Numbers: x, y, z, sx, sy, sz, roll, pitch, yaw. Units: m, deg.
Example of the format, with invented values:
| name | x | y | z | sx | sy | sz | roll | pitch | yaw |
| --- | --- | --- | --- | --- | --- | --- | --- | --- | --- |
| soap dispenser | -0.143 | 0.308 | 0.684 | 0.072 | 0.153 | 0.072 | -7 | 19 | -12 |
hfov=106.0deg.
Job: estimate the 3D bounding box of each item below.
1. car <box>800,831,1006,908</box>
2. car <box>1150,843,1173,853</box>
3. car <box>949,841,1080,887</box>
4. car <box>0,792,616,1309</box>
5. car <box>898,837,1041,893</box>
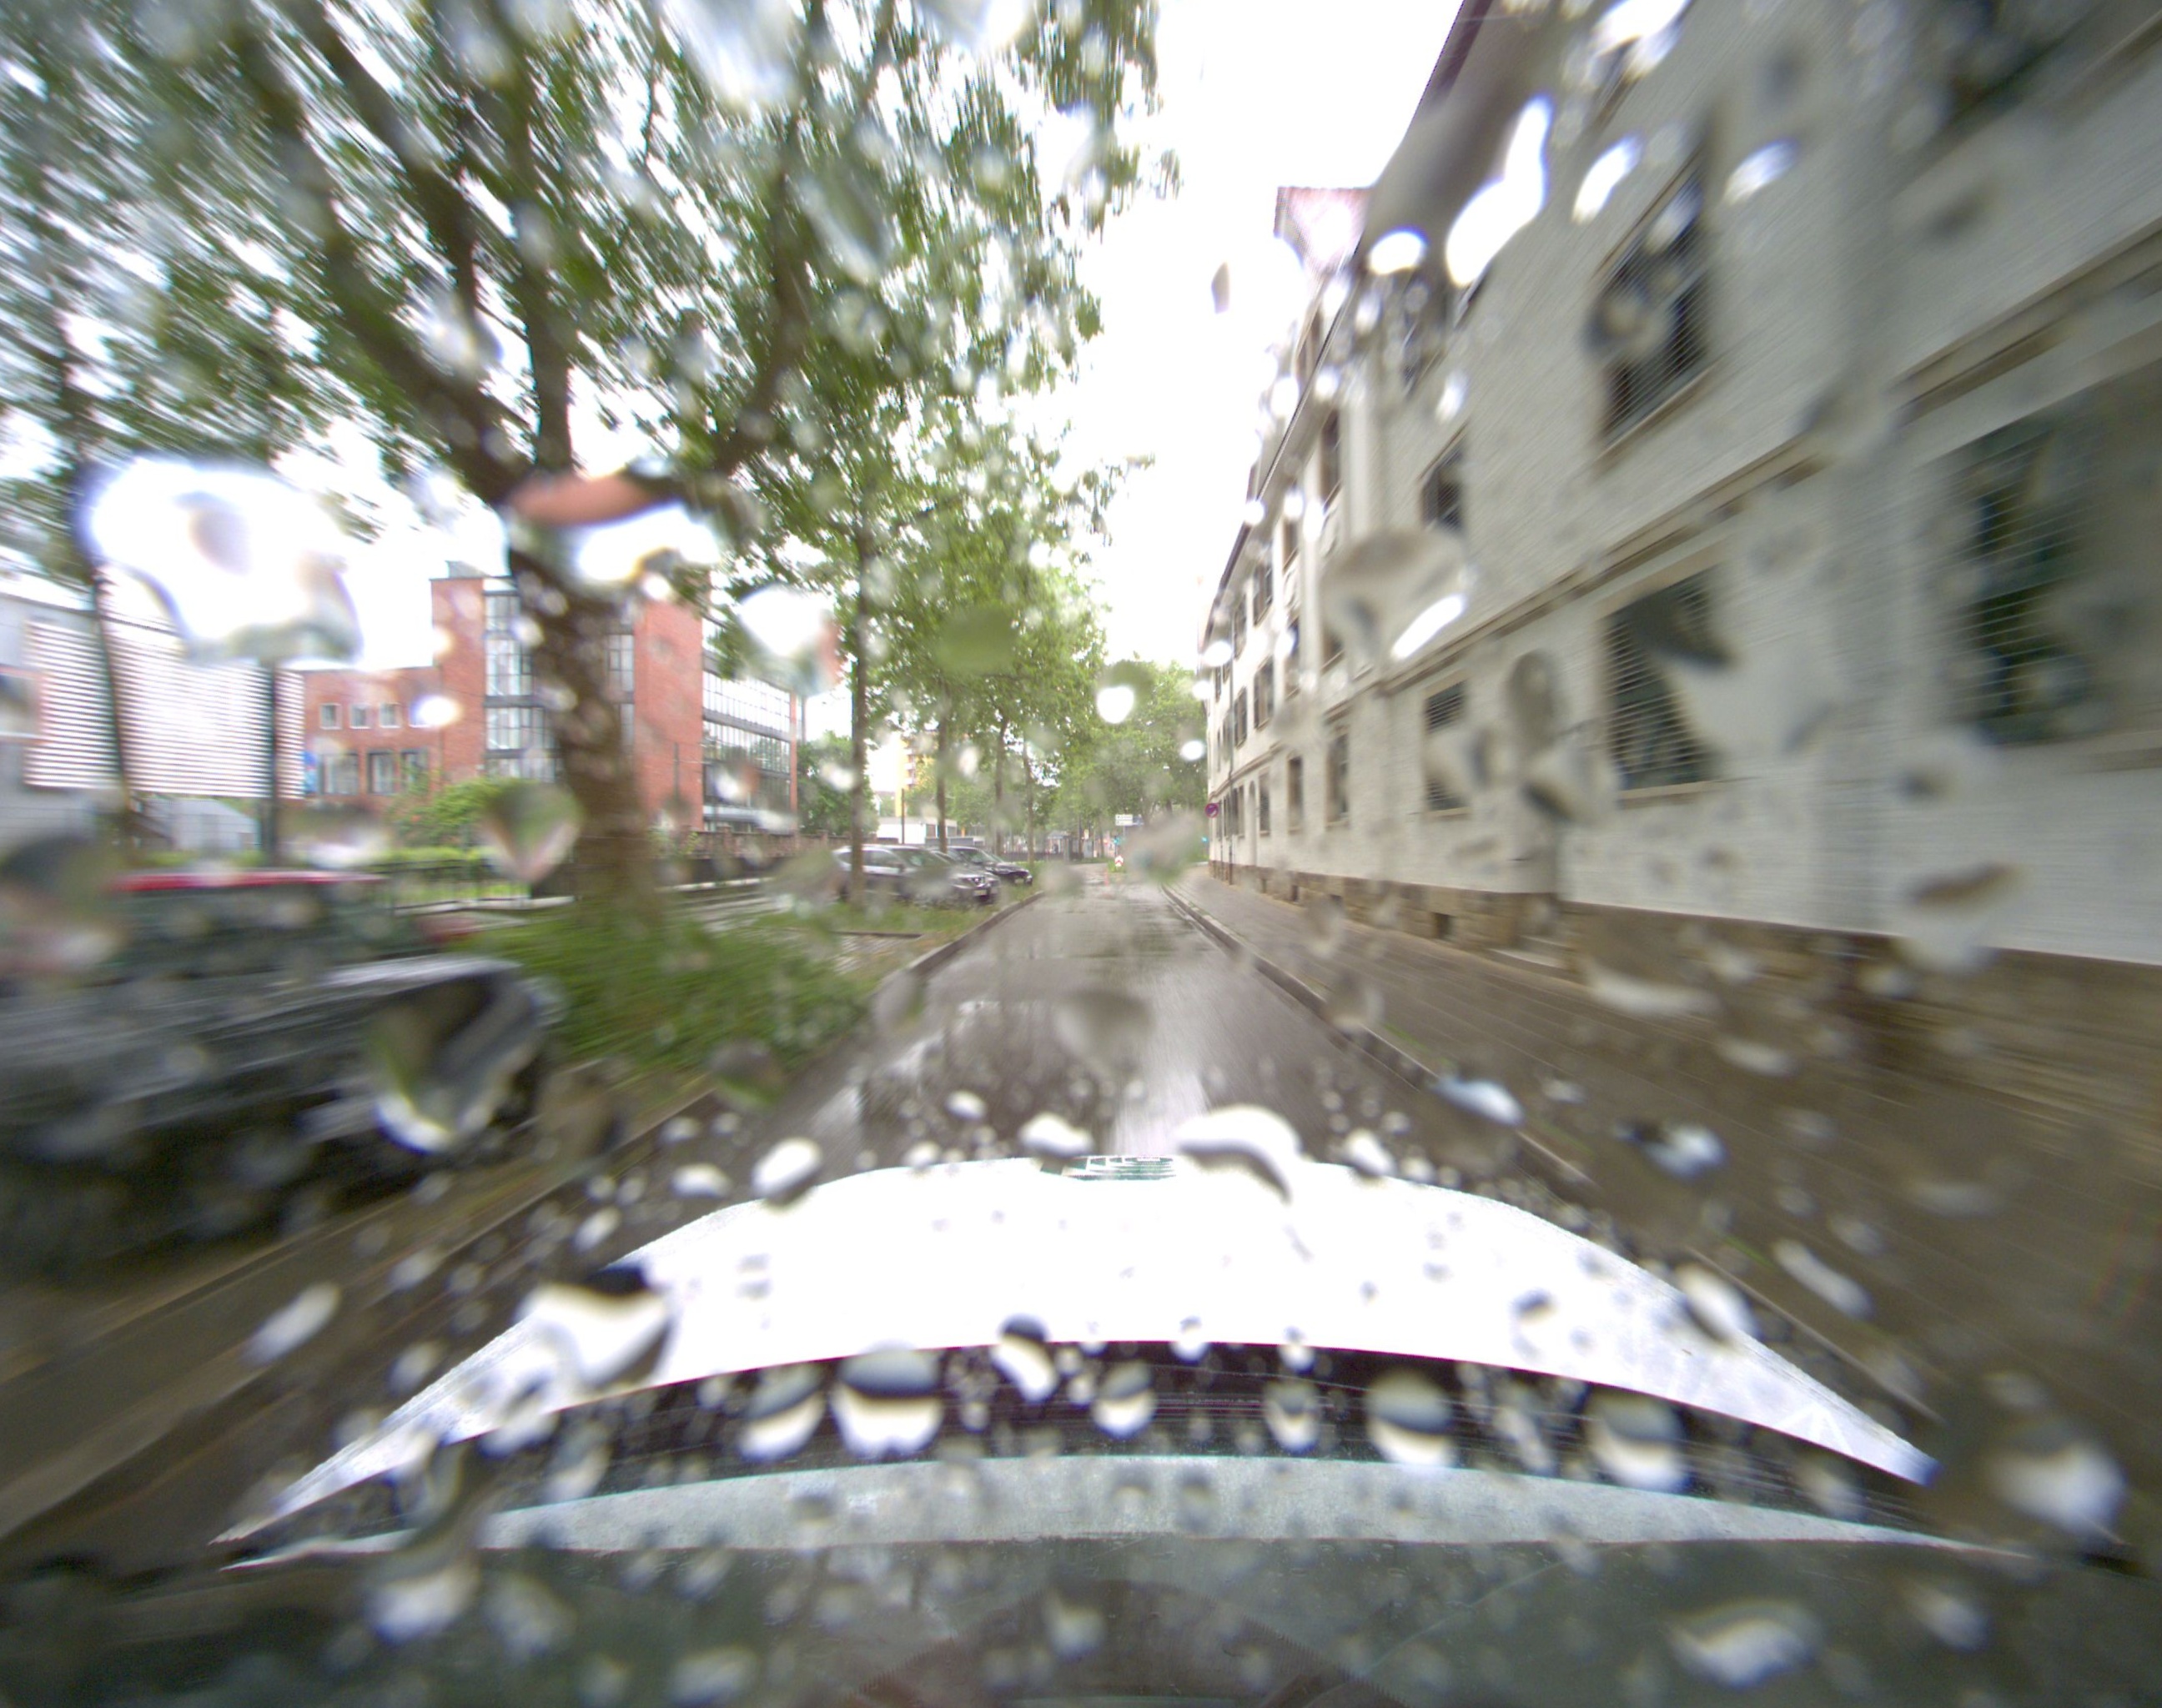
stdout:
| name | x | y | z | sx | sy | sz | roll | pitch | yaw |
| --- | --- | --- | --- | --- | --- | --- | --- | --- | --- |
| car | -4.133 | 0.302 | 18.824 | 4.417 | 1.597 | 1.935 | 1 | 0 | 28 |
| car | 14.363 | -1.088 | 145.152 | 4.020 | 1.597 | 1.976 | 3 | -1 | -41 |
| car | -2.423 | 0.356 | 29.358 | 4.308 | 1.512 | 1.973 | -1 | 1 | 32 |
| car | -4.267 | 0.599 | 4.141 | 3.768 | 1.521 | 1.733 | -1 | -1 | 32 |
| car | -3.745 | 0.359 | 27.177 | 4.474 | 1.714 | 1.973 | -1 | 1 | 32 |
